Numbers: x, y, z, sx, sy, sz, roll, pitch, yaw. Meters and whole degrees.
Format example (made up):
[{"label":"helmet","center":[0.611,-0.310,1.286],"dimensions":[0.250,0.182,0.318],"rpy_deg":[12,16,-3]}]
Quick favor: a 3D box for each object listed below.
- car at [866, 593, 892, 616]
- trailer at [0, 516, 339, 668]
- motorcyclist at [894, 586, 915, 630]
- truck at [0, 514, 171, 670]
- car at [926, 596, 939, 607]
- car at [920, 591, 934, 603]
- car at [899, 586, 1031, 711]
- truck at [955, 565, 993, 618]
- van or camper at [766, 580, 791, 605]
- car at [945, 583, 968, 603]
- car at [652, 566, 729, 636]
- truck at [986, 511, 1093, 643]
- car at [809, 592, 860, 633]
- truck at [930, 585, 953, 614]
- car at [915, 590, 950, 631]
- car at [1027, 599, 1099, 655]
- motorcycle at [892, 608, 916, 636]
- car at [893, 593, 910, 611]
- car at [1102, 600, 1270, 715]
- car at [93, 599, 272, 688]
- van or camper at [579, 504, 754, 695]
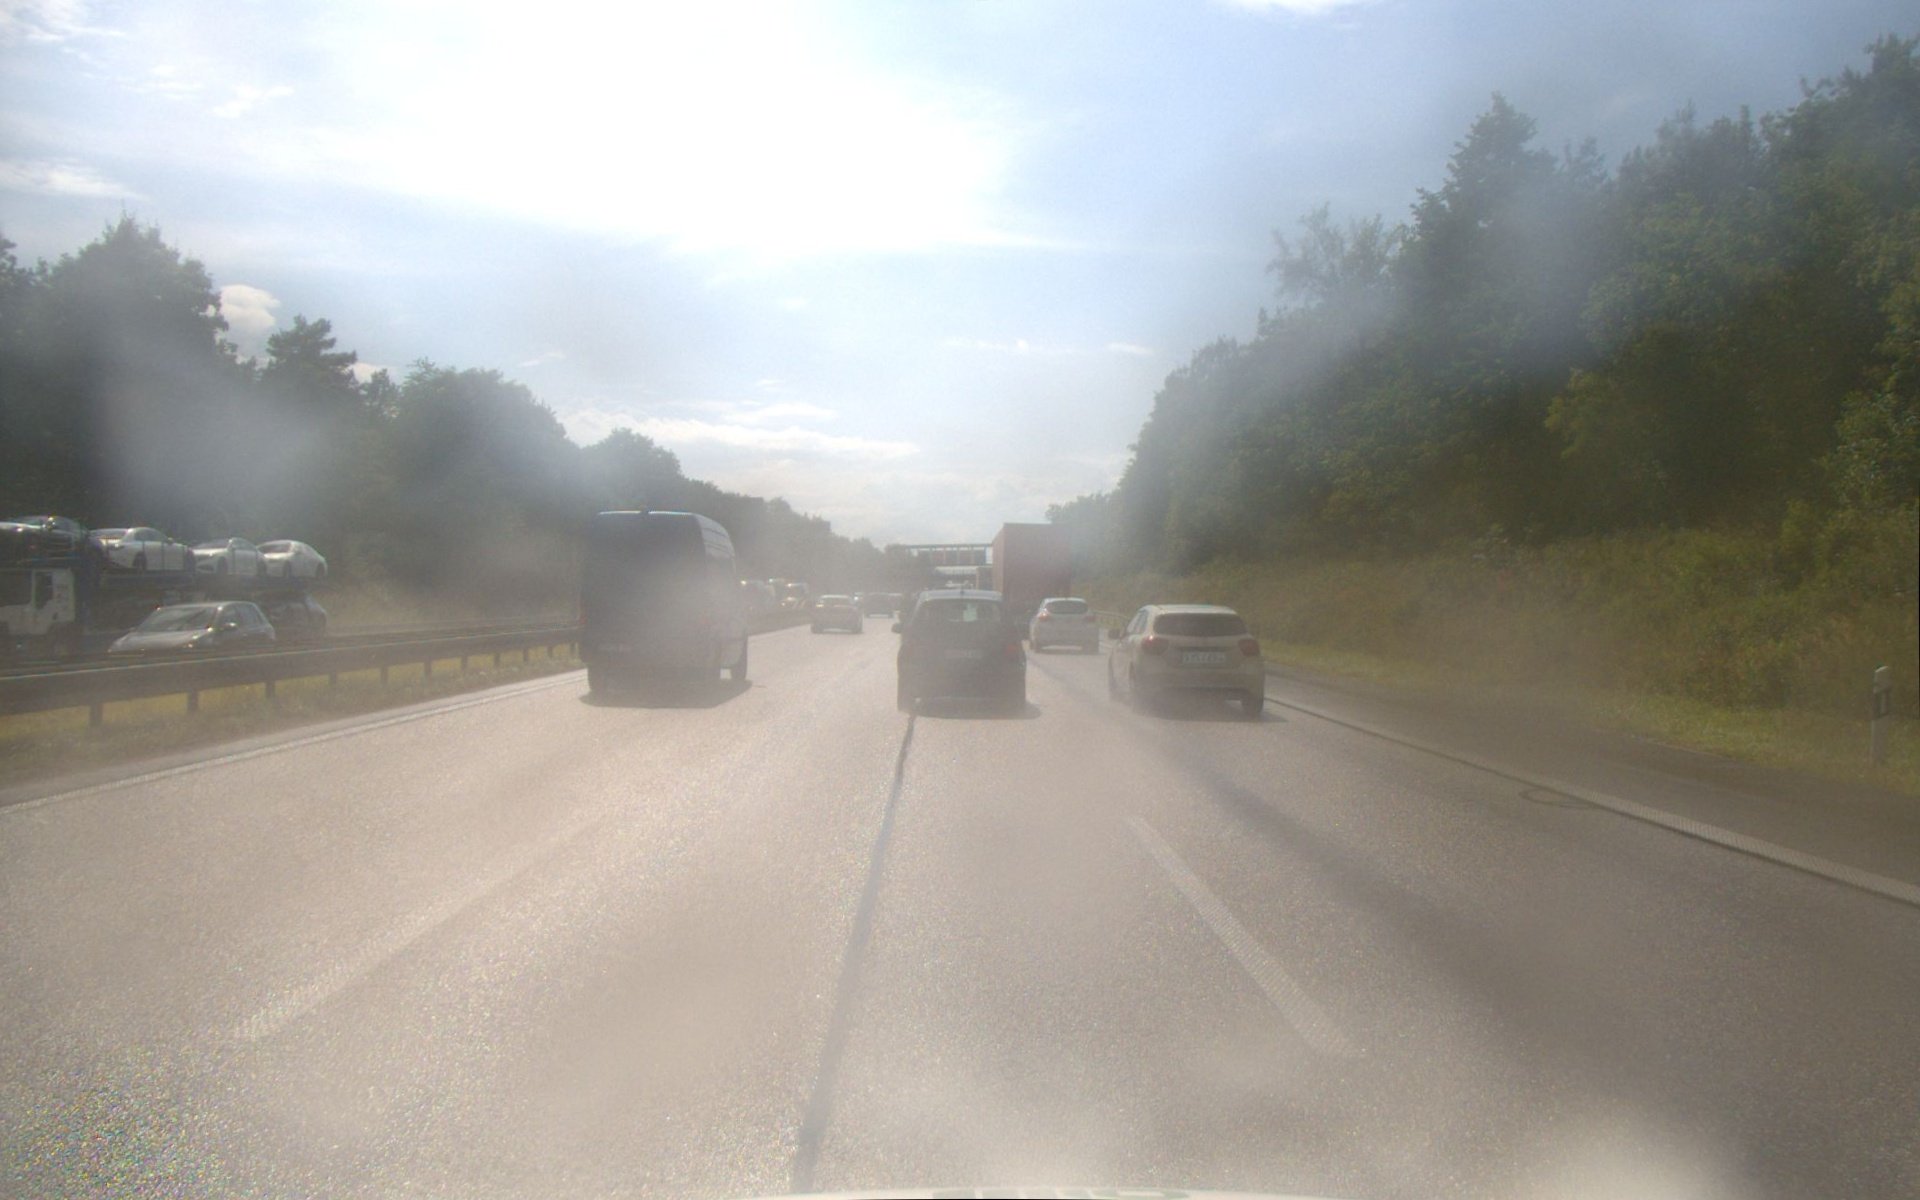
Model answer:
[{"label":"car","center":[-5.450,0.300,111.648],"dimensions":[1.716,1.482,3.388],"rpy_deg":[1,0,-2]},{"label":"trailer","center":[-24.457,-0.201,52.056],"dimensions":[2.929,3.898,17.951],"rpy_deg":[1,0,0]},{"label":"motorcyclist","center":[-2.110,0.310,62.770],"dimensions":[0.785,1.662,1.013],"rpy_deg":[1,0,-2]},{"label":"truck","center":[-24.523,-0.217,44.791],"dimensions":[2.929,3.898,6.864],"rpy_deg":[1,0,0]},{"label":"car","center":[-4.237,0.212,253.220],"dimensions":[1.953,1.759,3.999],"rpy_deg":[0,0,-1]},{"label":"car","center":[-4.617,-0.447,232.985],"dimensions":[1.953,1.731,4.000],"rpy_deg":[0,0,0]},{"label":"car","center":[0.015,0.631,23.091],"dimensions":[1.683,1.595,3.483],"rpy_deg":[1,0,-2]},{"label":"truck","center":[1.199,-0.714,148.127],"dimensions":[3.189,4.558,12.420],"rpy_deg":[1,0,0]},{"label":"van or camper","center":[-22.280,-0.885,203.440],"dimensions":[2.450,2.972,7.135],"rpy_deg":[1,0,-2]},{"label":"car","center":[-0.272,-0.505,119.105],"dimensions":[1.521,1.407,3.209],"rpy_deg":[1,0,-2]},{"label":"car","center":[-10.230,0.045,63.240],"dimensions":[2.139,2.495,5.746],"rpy_deg":[1,0,-2]},{"label":"truck","center":[3.045,-0.834,68.991],"dimensions":[3.575,4.803,16.777],"rpy_deg":[1,0,0]},{"label":"car","center":[-4.959,0.488,65.629],"dimensions":[1.817,1.578,3.483],"rpy_deg":[1,0,-2]},{"label":"truck","center":[-1.892,-0.043,168.901],"dimensions":[2.148,2.926,4.848],"rpy_deg":[1,0,-2]},{"label":"car","center":[-1.248,0.449,73.443],"dimensions":[1.500,1.777,3.483],"rpy_deg":[1,0,-2]},{"label":"car","center":[2.848,0.729,46.361],"dimensions":[1.646,1.467,3.903],"rpy_deg":[1,0,-2]},{"label":"motorcycle","center":[-2.134,0.835,62.811],"dimensions":[0.873,1.018,2.895],"rpy_deg":[1,0,-2]},{"label":"car","center":[-4.928,0.167,139.785],"dimensions":[1.431,1.418,3.310],"rpy_deg":[1,0,-2]},{"label":"car","center":[3.087,0.737,23.323],"dimensions":[1.658,1.450,4.218],"rpy_deg":[1,0,-2]},{"label":"car","center":[-13.924,0.735,29.824],"dimensions":[1.570,1.489,3.650],"rpy_deg":[1,0,-2]},{"label":"van or camper","center":[-4.568,0.001,26.517],"dimensions":[1.953,2.715,5.383],"rpy_deg":[1,0,-2]}]
